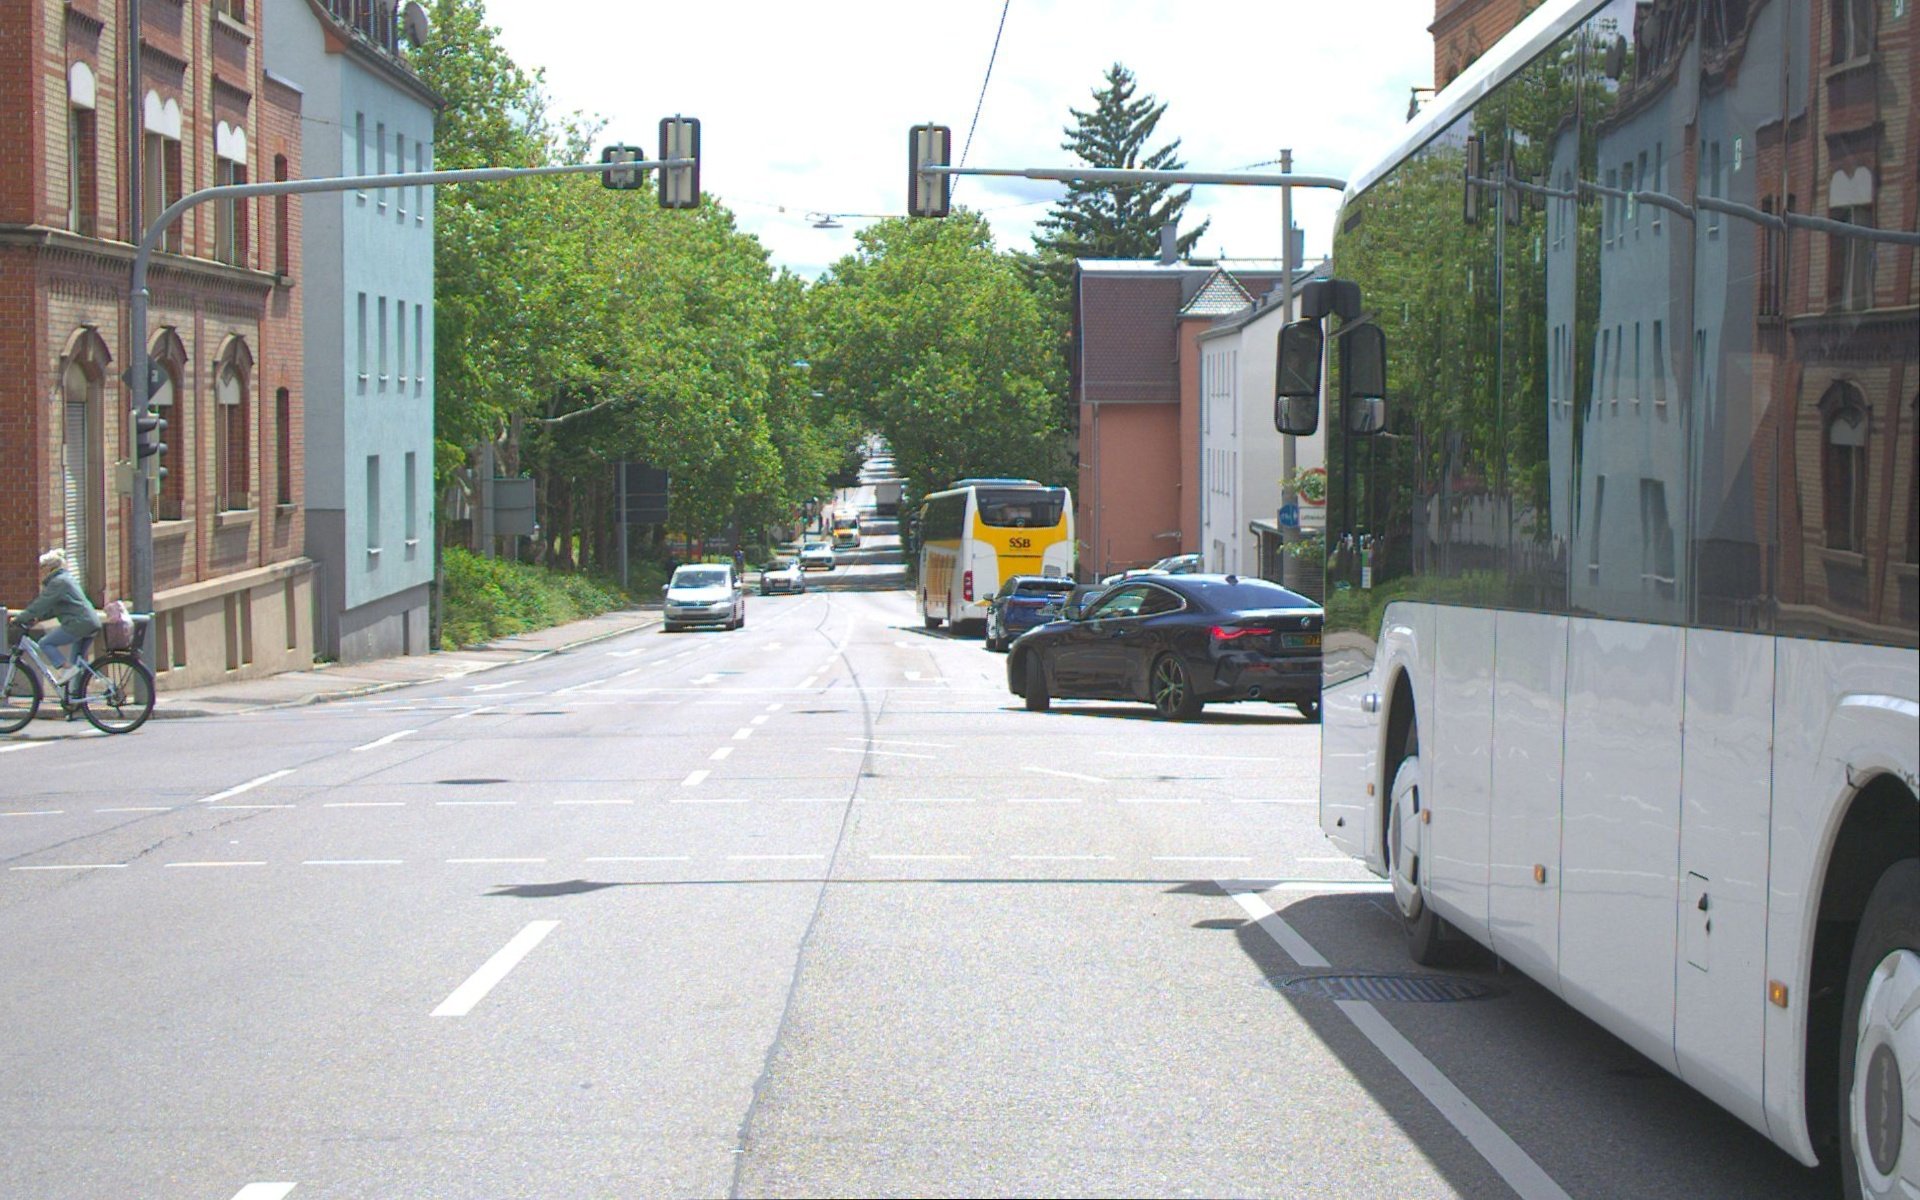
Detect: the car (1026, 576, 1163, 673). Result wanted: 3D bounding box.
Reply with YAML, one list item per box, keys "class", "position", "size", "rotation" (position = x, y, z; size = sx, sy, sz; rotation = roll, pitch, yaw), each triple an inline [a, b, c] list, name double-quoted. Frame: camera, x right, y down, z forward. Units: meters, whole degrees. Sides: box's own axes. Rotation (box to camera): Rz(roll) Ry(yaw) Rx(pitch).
- class: "car"
  position: [2.018, 0.345, 52.770]
  size: [1.865, 1.363, 4.547]
  rotation: [-1, 1, -1]

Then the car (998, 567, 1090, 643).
- class: "car"
  position: [1.594, 0.070, 66.030]
  size: [1.608, 1.371, 4.000]
  rotation: [0, 1, -1]

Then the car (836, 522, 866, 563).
- class: "car"
  position: [-8.256, -4.323, 261.240]
  size: [2.141, 3.059, 5.627]
  rotation: [1, 1, -1]

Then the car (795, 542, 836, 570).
- class: "car"
  position: [-8.365, -2.571, 199.566]
  size: [2.207, 1.607, 4.547]
  rotation: [-1, 1, -1]

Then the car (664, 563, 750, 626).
- class: "car"
  position: [-6.521, -0.163, 88.836]
  size: [1.935, 1.558, 4.389]
  rotation: [-1, 1, -1]

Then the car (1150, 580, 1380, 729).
- class: "car"
  position: [2.862, 0.479, 33.023]
  size: [1.797, 1.271, 4.000]
  rotation: [-1, 1, -1]

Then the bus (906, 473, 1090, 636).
- class: "bus"
  position: [0.773, -1.119, 82.785]
  size: [3.300, 3.618, 11.246]
  rotation: [-1, 1, -5]

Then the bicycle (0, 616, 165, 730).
- class: "bicycle"
  position: [-8.516, 0.673, 31.808]
  size: [2.186, 1.016, 0.606]
  rotation: [0, 1, 8]

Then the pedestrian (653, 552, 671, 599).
- class: "pedestrian"
  position: [-11.111, -0.924, 128.304]
  size: [0.606, 1.752, 0.654]
  rotation: [-1, 1, -2]

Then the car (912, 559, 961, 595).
- class: "car"
  position: [-1.035, -0.999, 147.259]
  size: [1.879, 1.487, 4.001]
  rotation: [-1, 1, -3]

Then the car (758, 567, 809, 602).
- class: "car"
  position: [-7.098, -0.643, 138.808]
  size: [1.865, 1.363, 4.547]
  rotation: [-1, 1, -1]

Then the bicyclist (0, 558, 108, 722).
- class: "bicyclist"
  position: [-8.511, 0.365, 31.792]
  size: [1.072, 1.494, 0.590]
  rotation: [0, 1, 8]

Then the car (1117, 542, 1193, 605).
- class: "car"
  position: [5.270, -0.738, 93.309]
  size: [1.767, 1.660, 4.000]
  rotation: [-1, 1, -1]

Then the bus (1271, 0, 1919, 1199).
- class: "bus"
  position: [2.953, -0.241, 9.256]
  size: [2.904, 3.498, 12.488]
  rotation: [1, 1, -1]
